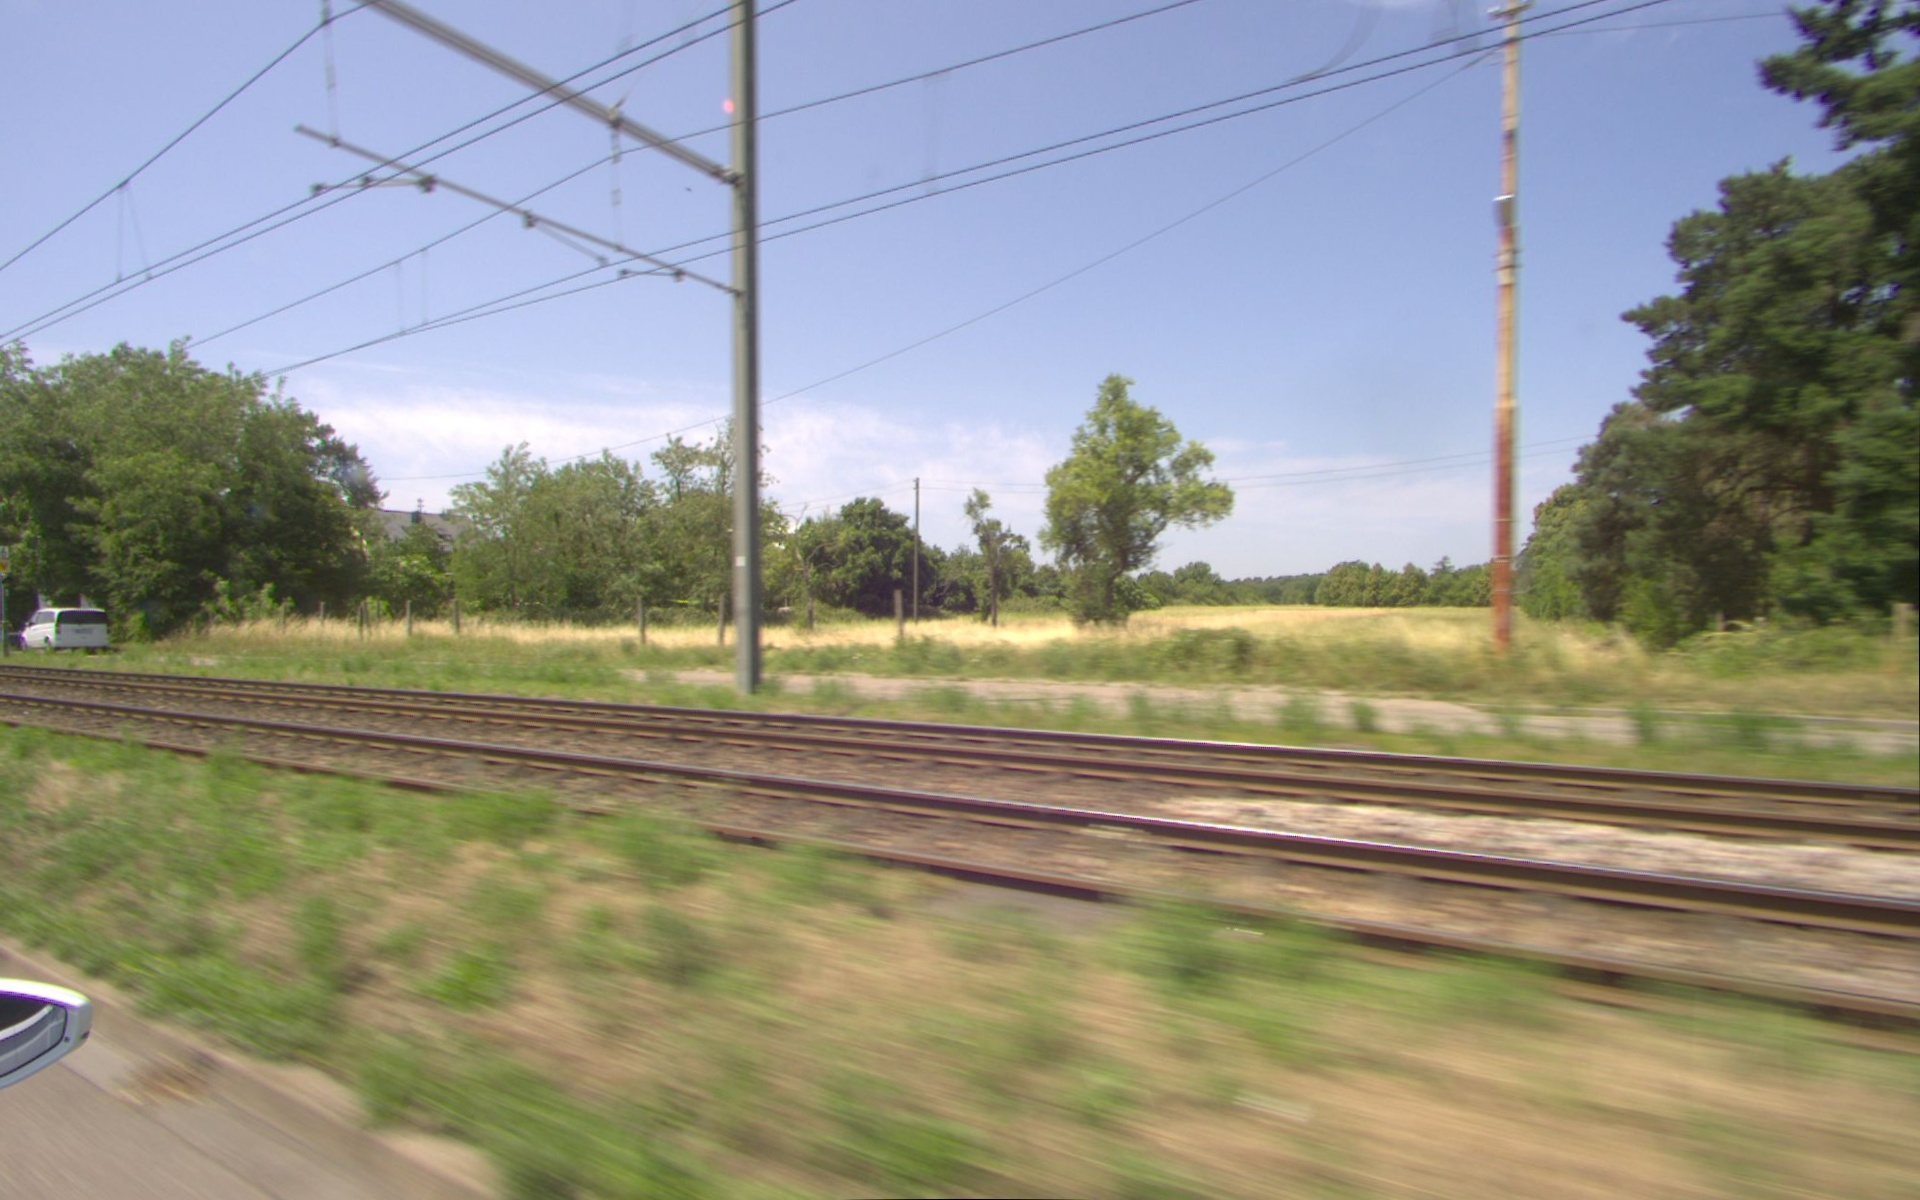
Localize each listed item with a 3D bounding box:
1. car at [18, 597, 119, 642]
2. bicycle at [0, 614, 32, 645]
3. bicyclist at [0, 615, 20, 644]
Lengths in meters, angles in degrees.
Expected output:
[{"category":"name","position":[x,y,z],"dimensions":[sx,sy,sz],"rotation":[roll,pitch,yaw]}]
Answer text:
[{"category":"car","position":[-37.968,0.832,42.638],"dimensions":[4.726,1.826,1.989],"rotation":[-1,0,32]},{"category":"bicycle","position":[-46.723,1.441,49.109],"dimensions":[3.337,1.448,0.926],"rotation":[-1,0,33]},{"category":"bicyclist","position":[-46.444,1.434,48.816],"dimensions":[0.891,1.356,0.700],"rotation":[-1,0,32]}]
